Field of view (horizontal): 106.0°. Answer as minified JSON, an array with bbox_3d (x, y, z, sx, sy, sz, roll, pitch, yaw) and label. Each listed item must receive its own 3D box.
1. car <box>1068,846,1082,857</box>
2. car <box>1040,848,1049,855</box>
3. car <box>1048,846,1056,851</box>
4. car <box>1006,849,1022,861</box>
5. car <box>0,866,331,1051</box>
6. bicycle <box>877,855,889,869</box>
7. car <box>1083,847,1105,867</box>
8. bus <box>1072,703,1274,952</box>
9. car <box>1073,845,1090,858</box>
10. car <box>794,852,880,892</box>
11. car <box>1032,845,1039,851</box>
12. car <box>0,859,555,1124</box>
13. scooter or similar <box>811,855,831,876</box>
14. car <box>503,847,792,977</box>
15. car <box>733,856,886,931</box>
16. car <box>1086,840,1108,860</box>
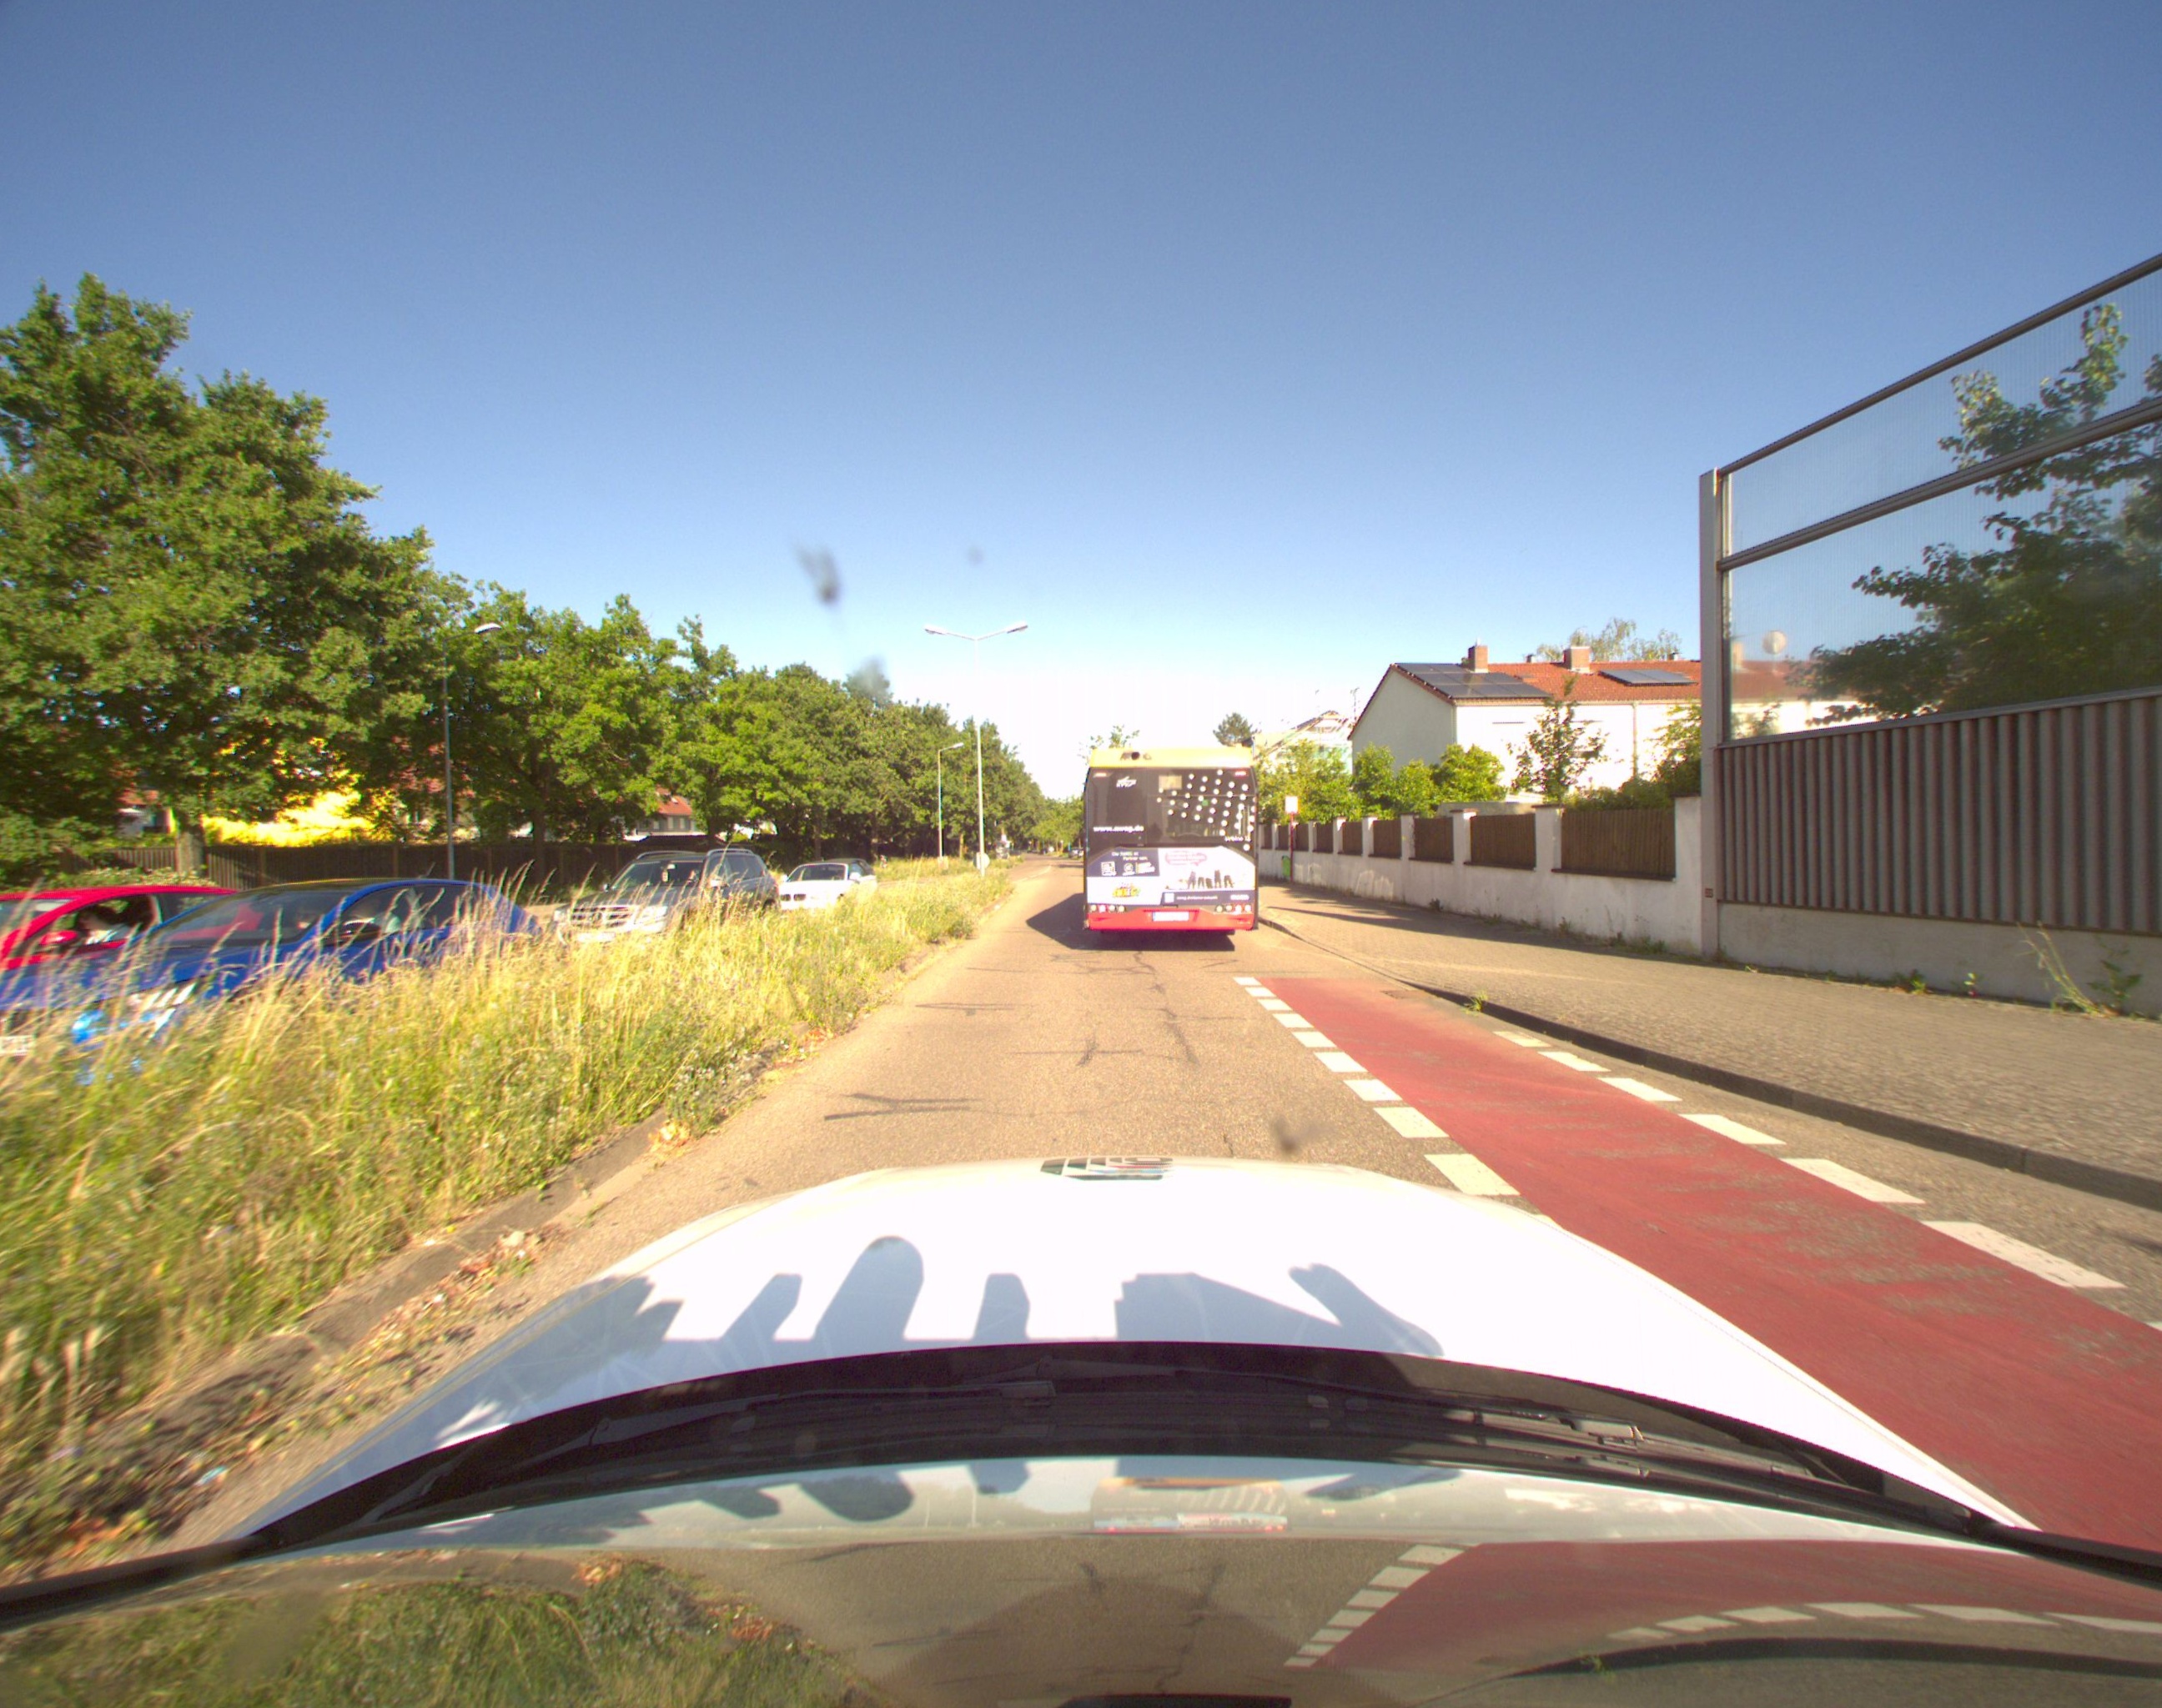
[{"bbox_3d":[-0.938,-0.381,129.788,1.929,1.742,3.995,-1,0,-4],"label":"car"},{"bbox_3d":[-8.913,-0.632,198.385,1.929,1.542,3.995,-1,0,-4],"label":"car"},{"bbox_3d":[-8.021,-1.447,224.694,1.930,1.454,3.993,-1,0,-5],"label":"car"},{"bbox_3d":[-8.393,0.090,102.014,1.933,1.479,3.993,-1,0,-5],"label":"car"},{"bbox_3d":[-9.953,0.939,7.958,1.638,1.483,3.716,-2,1,3],"label":"car"},{"bbox_3d":[-15.132,0.612,62.260,0.504,1.053,1.879,-1,0,-1],"label":"bicycle"},{"bbox_3d":[1.138,0.254,71.116,1.668,1.578,3.749,-3,1,-2],"label":"car"},{"bbox_3d":[1.668,-0.364,17.794,2.746,3.458,12.409,-2,0,3],"label":"bus"},{"bbox_3d":[0.031,-0.314,107.377,1.932,1.704,3.995,-1,0,-4],"label":"car"},{"bbox_3d":[-10.144,0.719,34.168,1.698,1.430,4.012,-3,0,11],"label":"car"},{"bbox_3d":[-12.480,-1.667,223.395,1.930,1.454,3.993,-1,0,-5],"label":"car"},{"bbox_3d":[-6.646,0.858,6.842,1.740,1.483,3.891,-2,1,3],"label":"car"},{"bbox_3d":[-16.095,0.694,50.445,0.535,1.218,1.419,1,2,15],"label":"scooter or similar"},{"bbox_3d":[-6.499,0.751,12.970,1.986,1.616,4.533,-2,1,2],"label":"car"},{"bbox_3d":[-6.276,0.851,19.448,1.986,1.450,4.402,-2,1,2],"label":"car"},{"bbox_3d":[1.679,-0.434,87.070,1.832,1.971,4.752,-1,0,-4],"label":"car"}]
